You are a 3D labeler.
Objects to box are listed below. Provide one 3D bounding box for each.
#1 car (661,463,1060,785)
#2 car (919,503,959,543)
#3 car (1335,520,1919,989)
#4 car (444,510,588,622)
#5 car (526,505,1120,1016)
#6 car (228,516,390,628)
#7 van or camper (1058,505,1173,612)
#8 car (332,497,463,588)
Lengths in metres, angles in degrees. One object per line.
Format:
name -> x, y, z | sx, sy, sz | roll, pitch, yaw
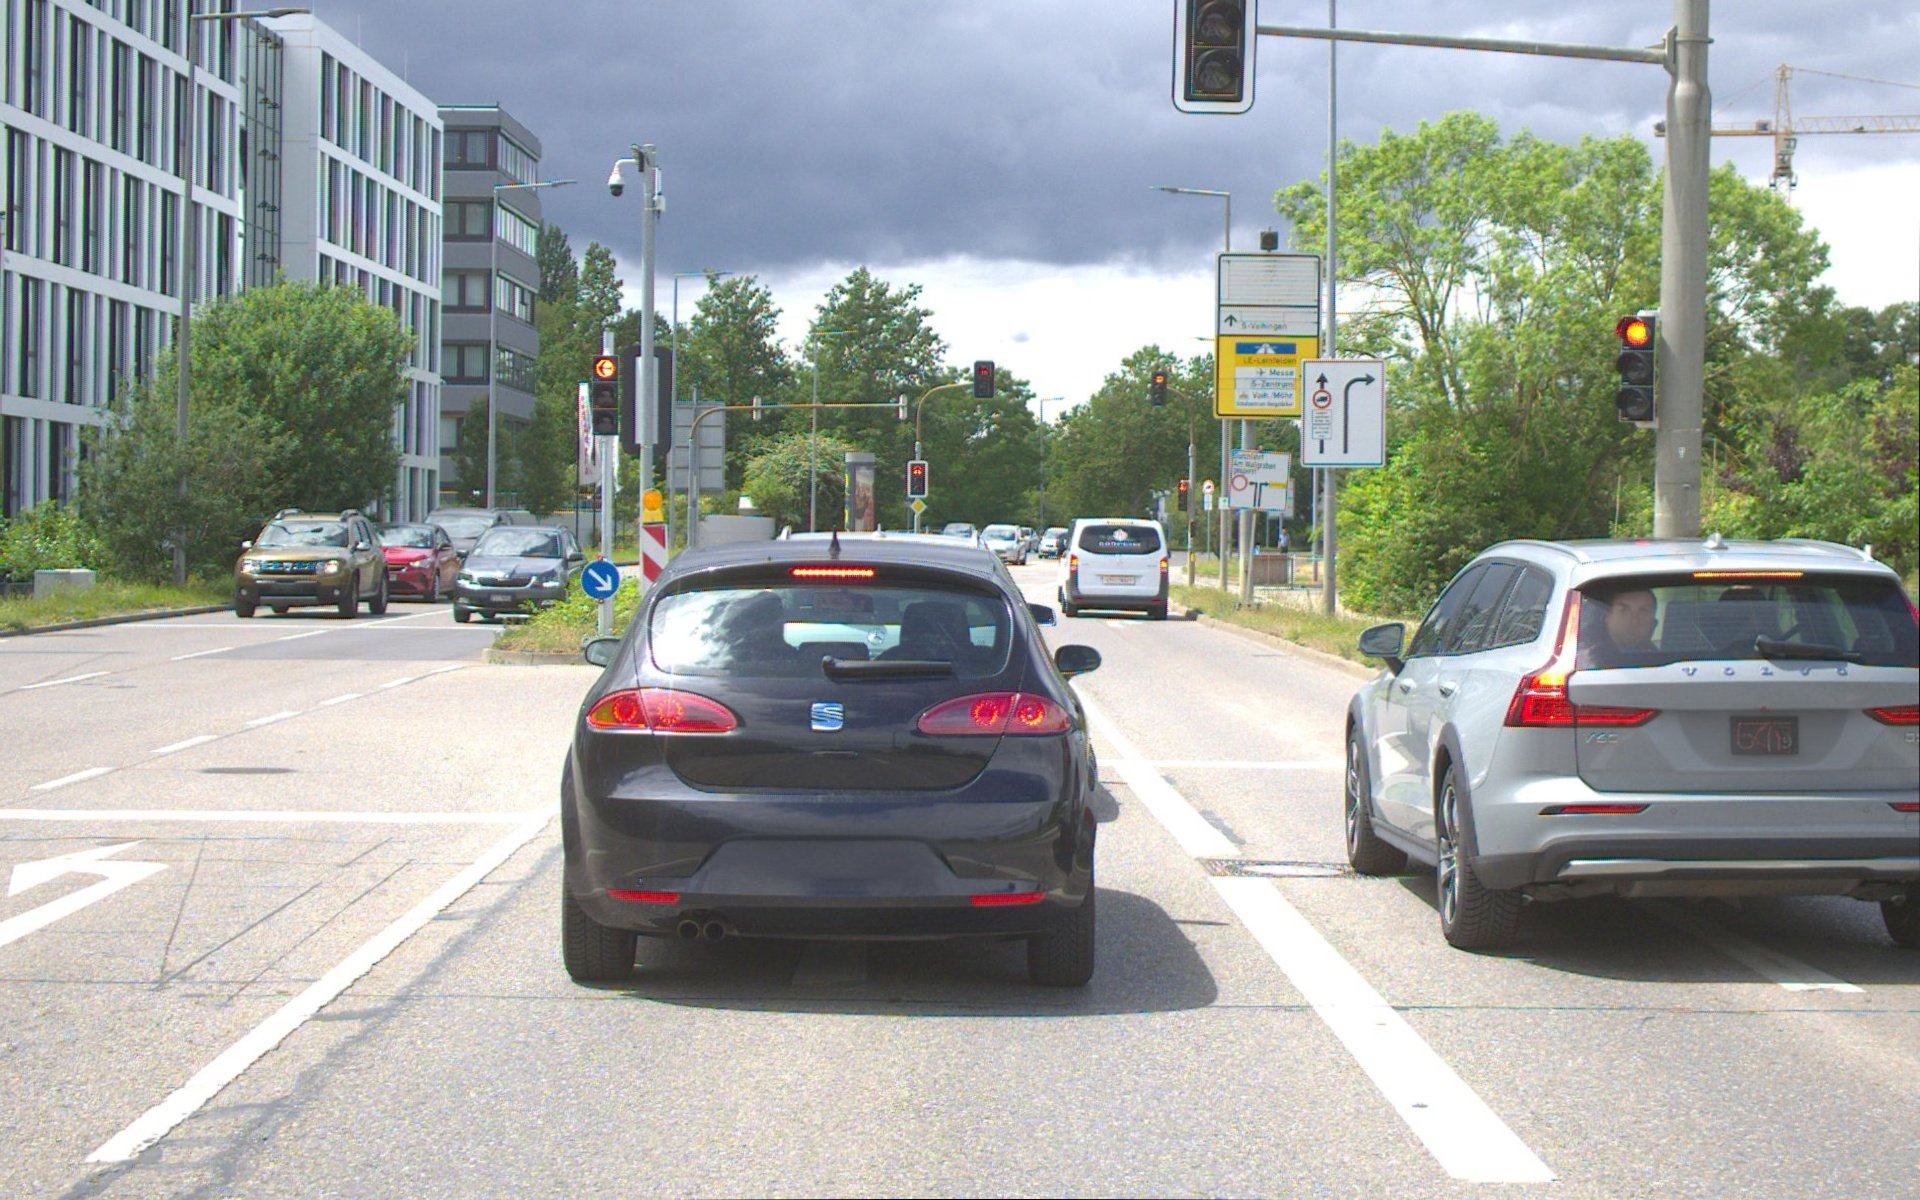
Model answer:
car -> -0.551, 0.079, 19.438 | 1.983, 1.585, 4.226 | 1, 1, -1
car -> -1.098, -3.976, 177.658 | 1.993, 2.007, 4.000 | 0, 1, -1
car -> 2.688, 0.479, 13.465 | 1.958, 1.520, 4.340 | -1, 1, 0
car -> -6.666, -0.542, 51.974 | 1.668, 1.519, 4.008 | -1, 2, -1
car -> -0.323, 0.457, 12.350 | 1.748, 1.478, 4.000 | 2, 1, 3
car -> -9.995, -0.453, 53.049 | 1.751, 1.625, 4.000 | -1, 1, -1
van or camper -> 2.870, -0.777, 64.186 | 1.899, 1.919, 4.000 | 0, 1, -1
car -> -10.248, -1.044, 62.864 | 1.776, 1.606, 4.000 | 0, 1, -1
